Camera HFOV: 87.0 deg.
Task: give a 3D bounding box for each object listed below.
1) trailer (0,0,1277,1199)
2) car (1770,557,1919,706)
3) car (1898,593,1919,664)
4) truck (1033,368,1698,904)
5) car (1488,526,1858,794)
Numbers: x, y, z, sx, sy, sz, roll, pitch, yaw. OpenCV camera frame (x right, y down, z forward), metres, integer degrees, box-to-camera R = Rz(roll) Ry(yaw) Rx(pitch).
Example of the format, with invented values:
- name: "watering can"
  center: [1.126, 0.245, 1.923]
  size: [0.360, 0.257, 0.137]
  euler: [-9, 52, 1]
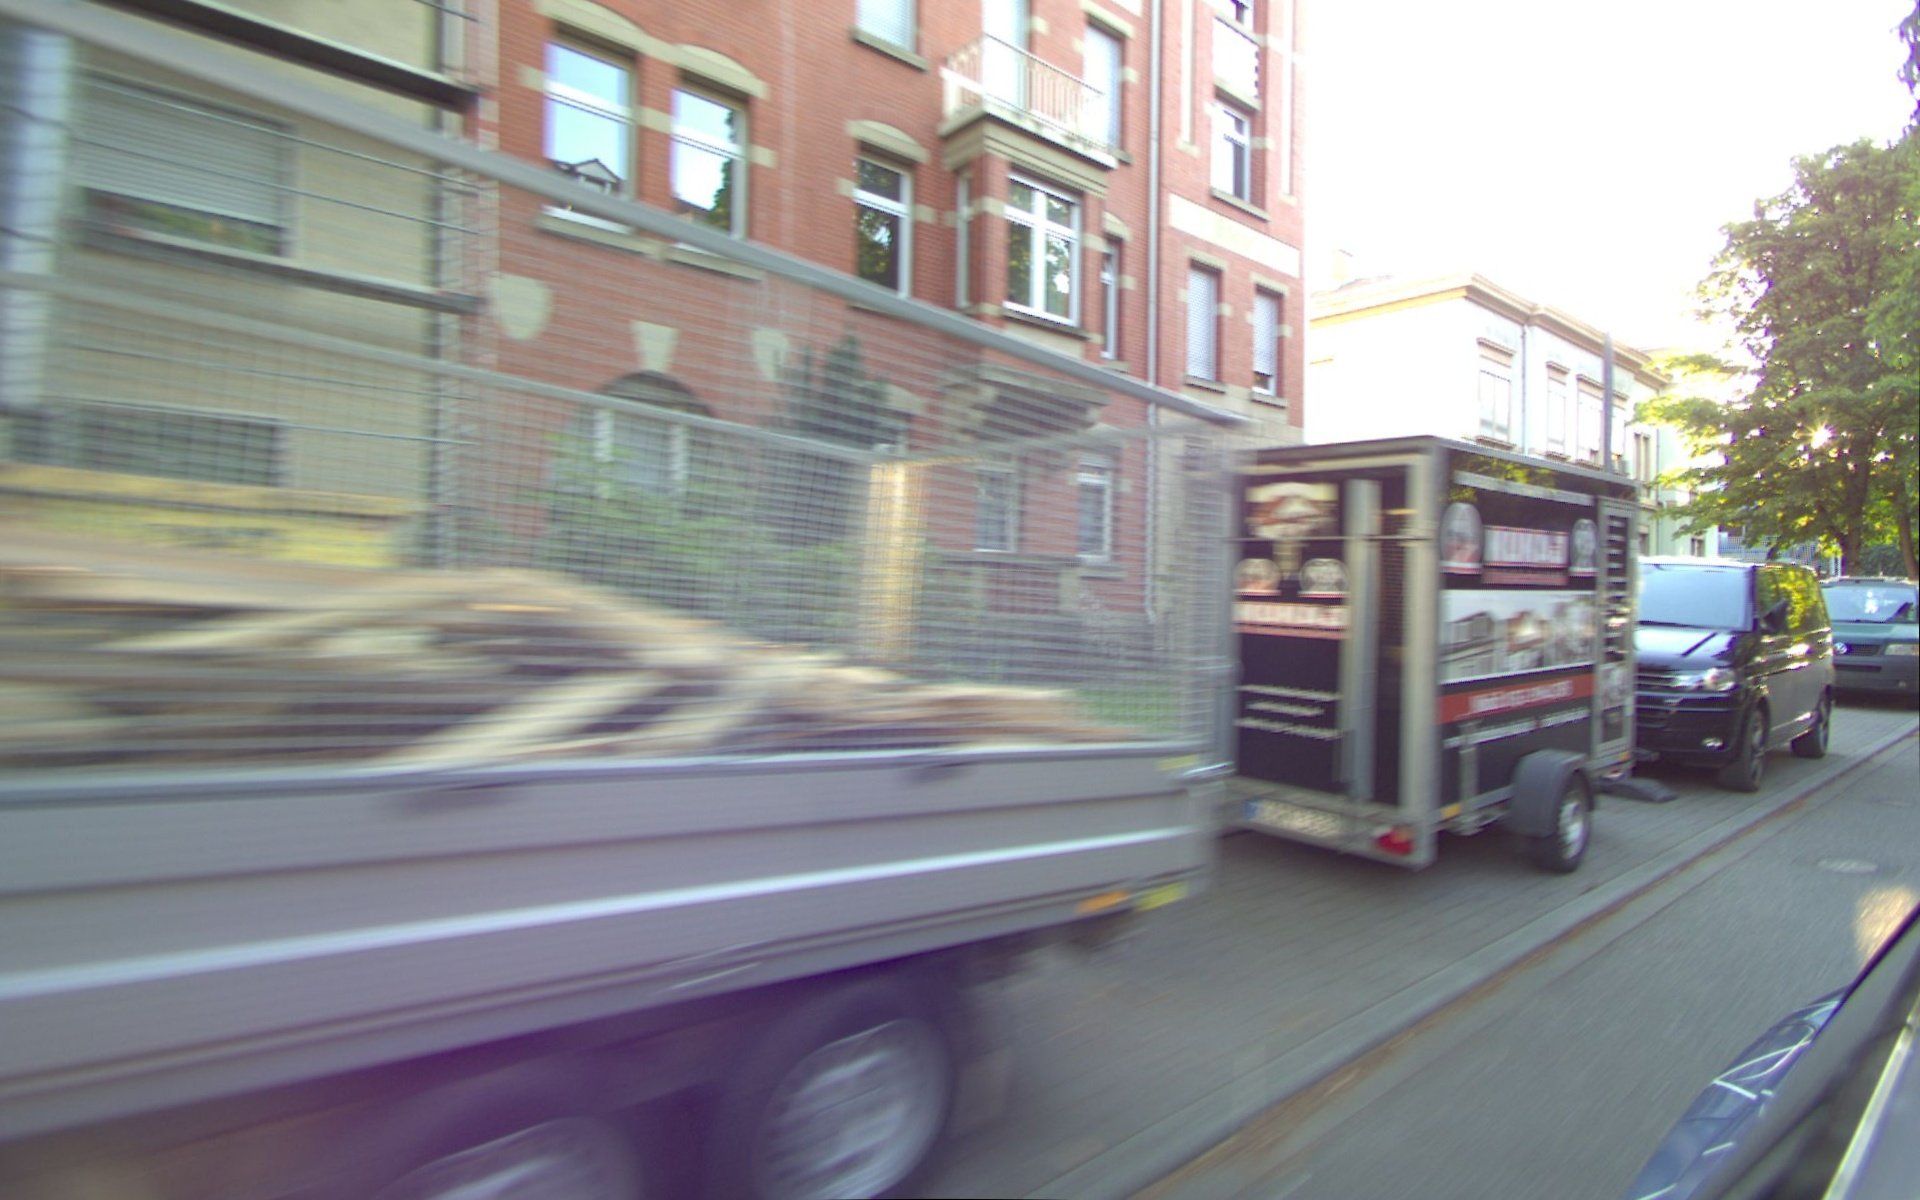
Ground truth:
- name: "trailer"
  center: [-1.447, 0.241, 2.290]
  size: [4.563, 2.324, 1.958]
  euler: [1, 3, -41]
- name: "car"
  center: [15.007, 0.463, 16.531]
  size: [4.747, 2.084, 1.957]
  euler: [1, 2, -42]
- name: "car"
  center: [22.254, 0.671, 22.532]
  size: [3.631, 1.518, 1.667]
  euler: [1, 2, -43]
- name: "truck"
  center: [2.835, 0.138, 6.512]
  size: [4.561, 2.274, 1.959]
  euler: [1, 2, -40]
- name: "car"
  center: [6.943, 0.424, 9.644]
  size: [4.534, 1.966, 1.842]
  euler: [1, 2, -42]
